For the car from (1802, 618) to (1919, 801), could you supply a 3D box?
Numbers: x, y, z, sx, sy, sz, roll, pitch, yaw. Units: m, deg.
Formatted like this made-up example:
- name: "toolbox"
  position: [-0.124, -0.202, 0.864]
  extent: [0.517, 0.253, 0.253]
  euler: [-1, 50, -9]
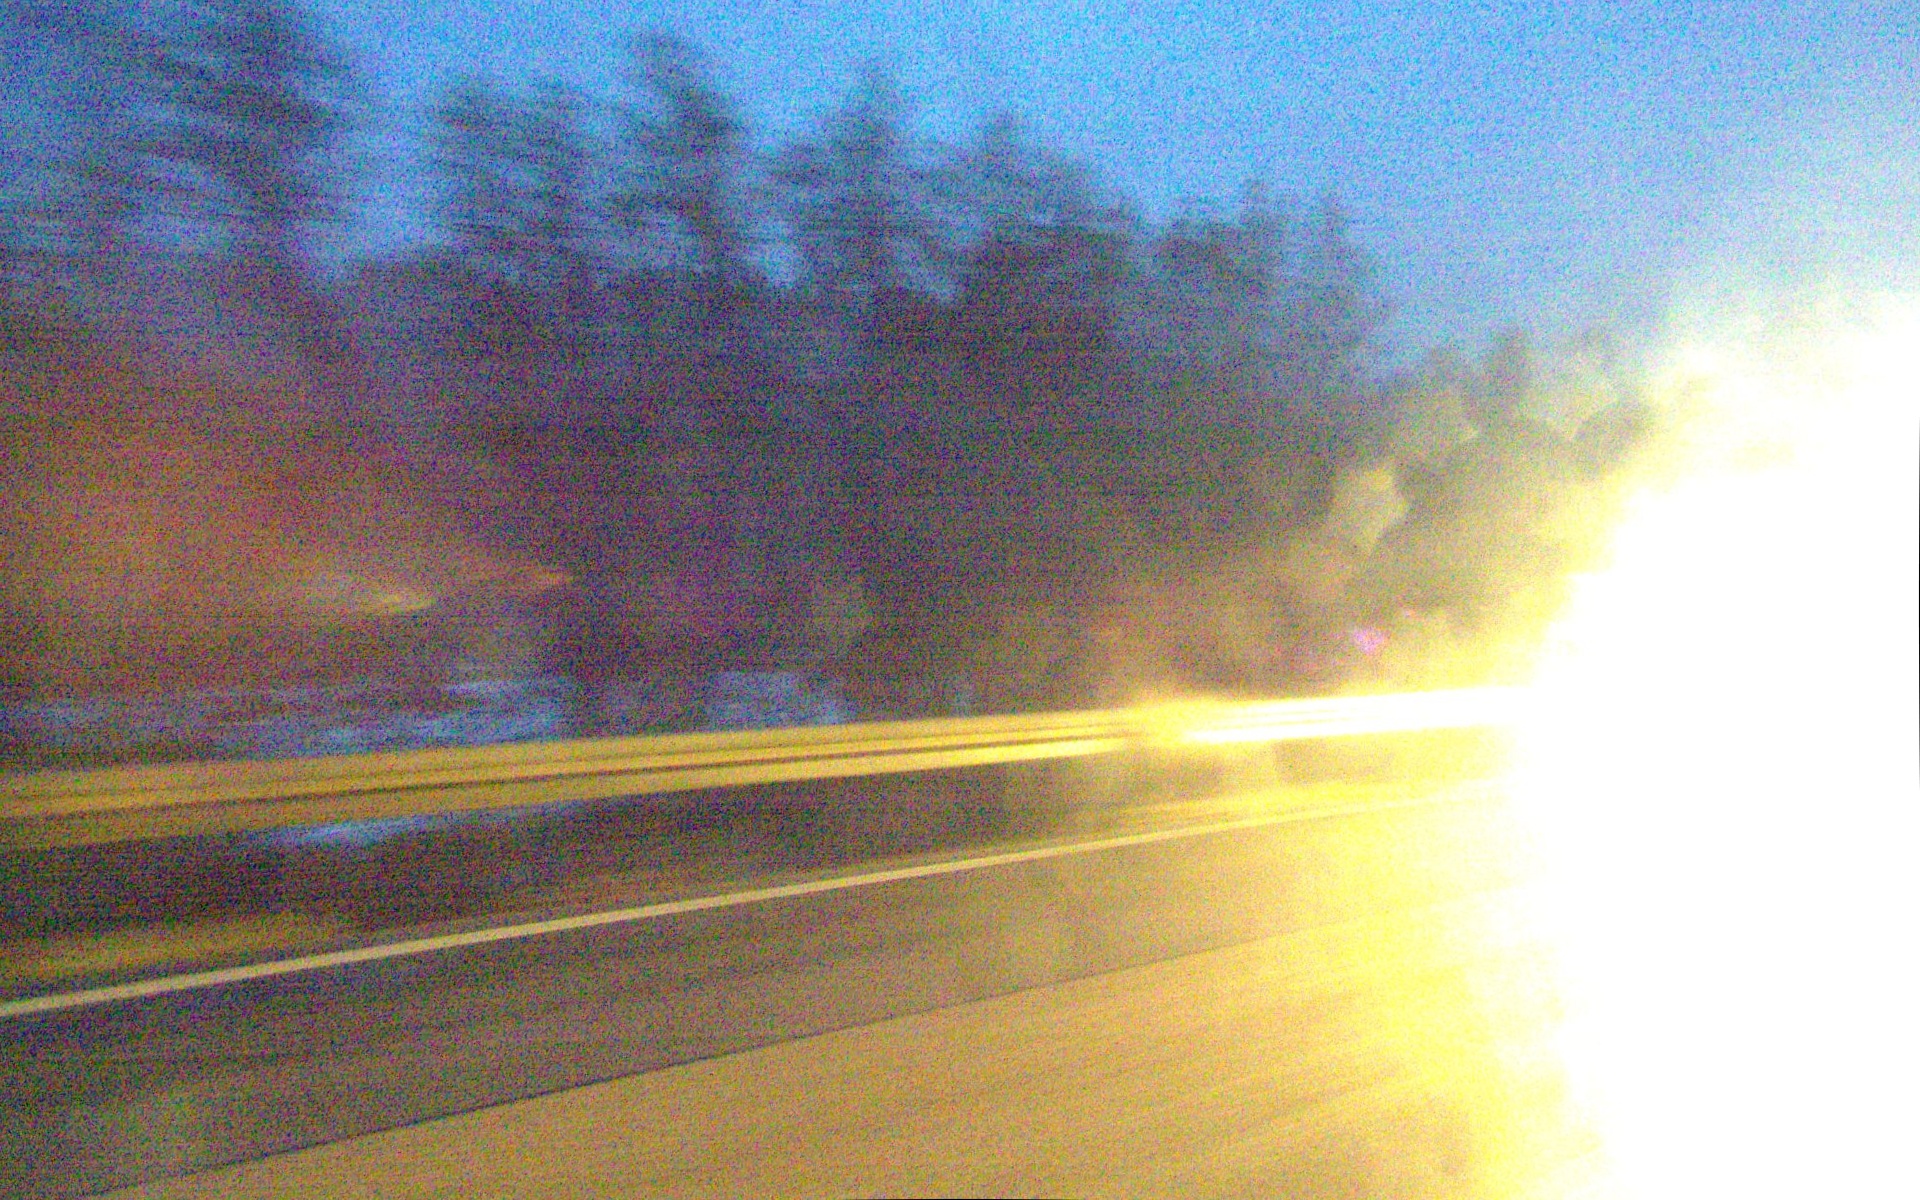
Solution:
- name: "car"
  position: [9.137, 0.903, 8.806]
  extent: [3.617, 1.444, 1.636]
  euler: [1, -1, -31]
